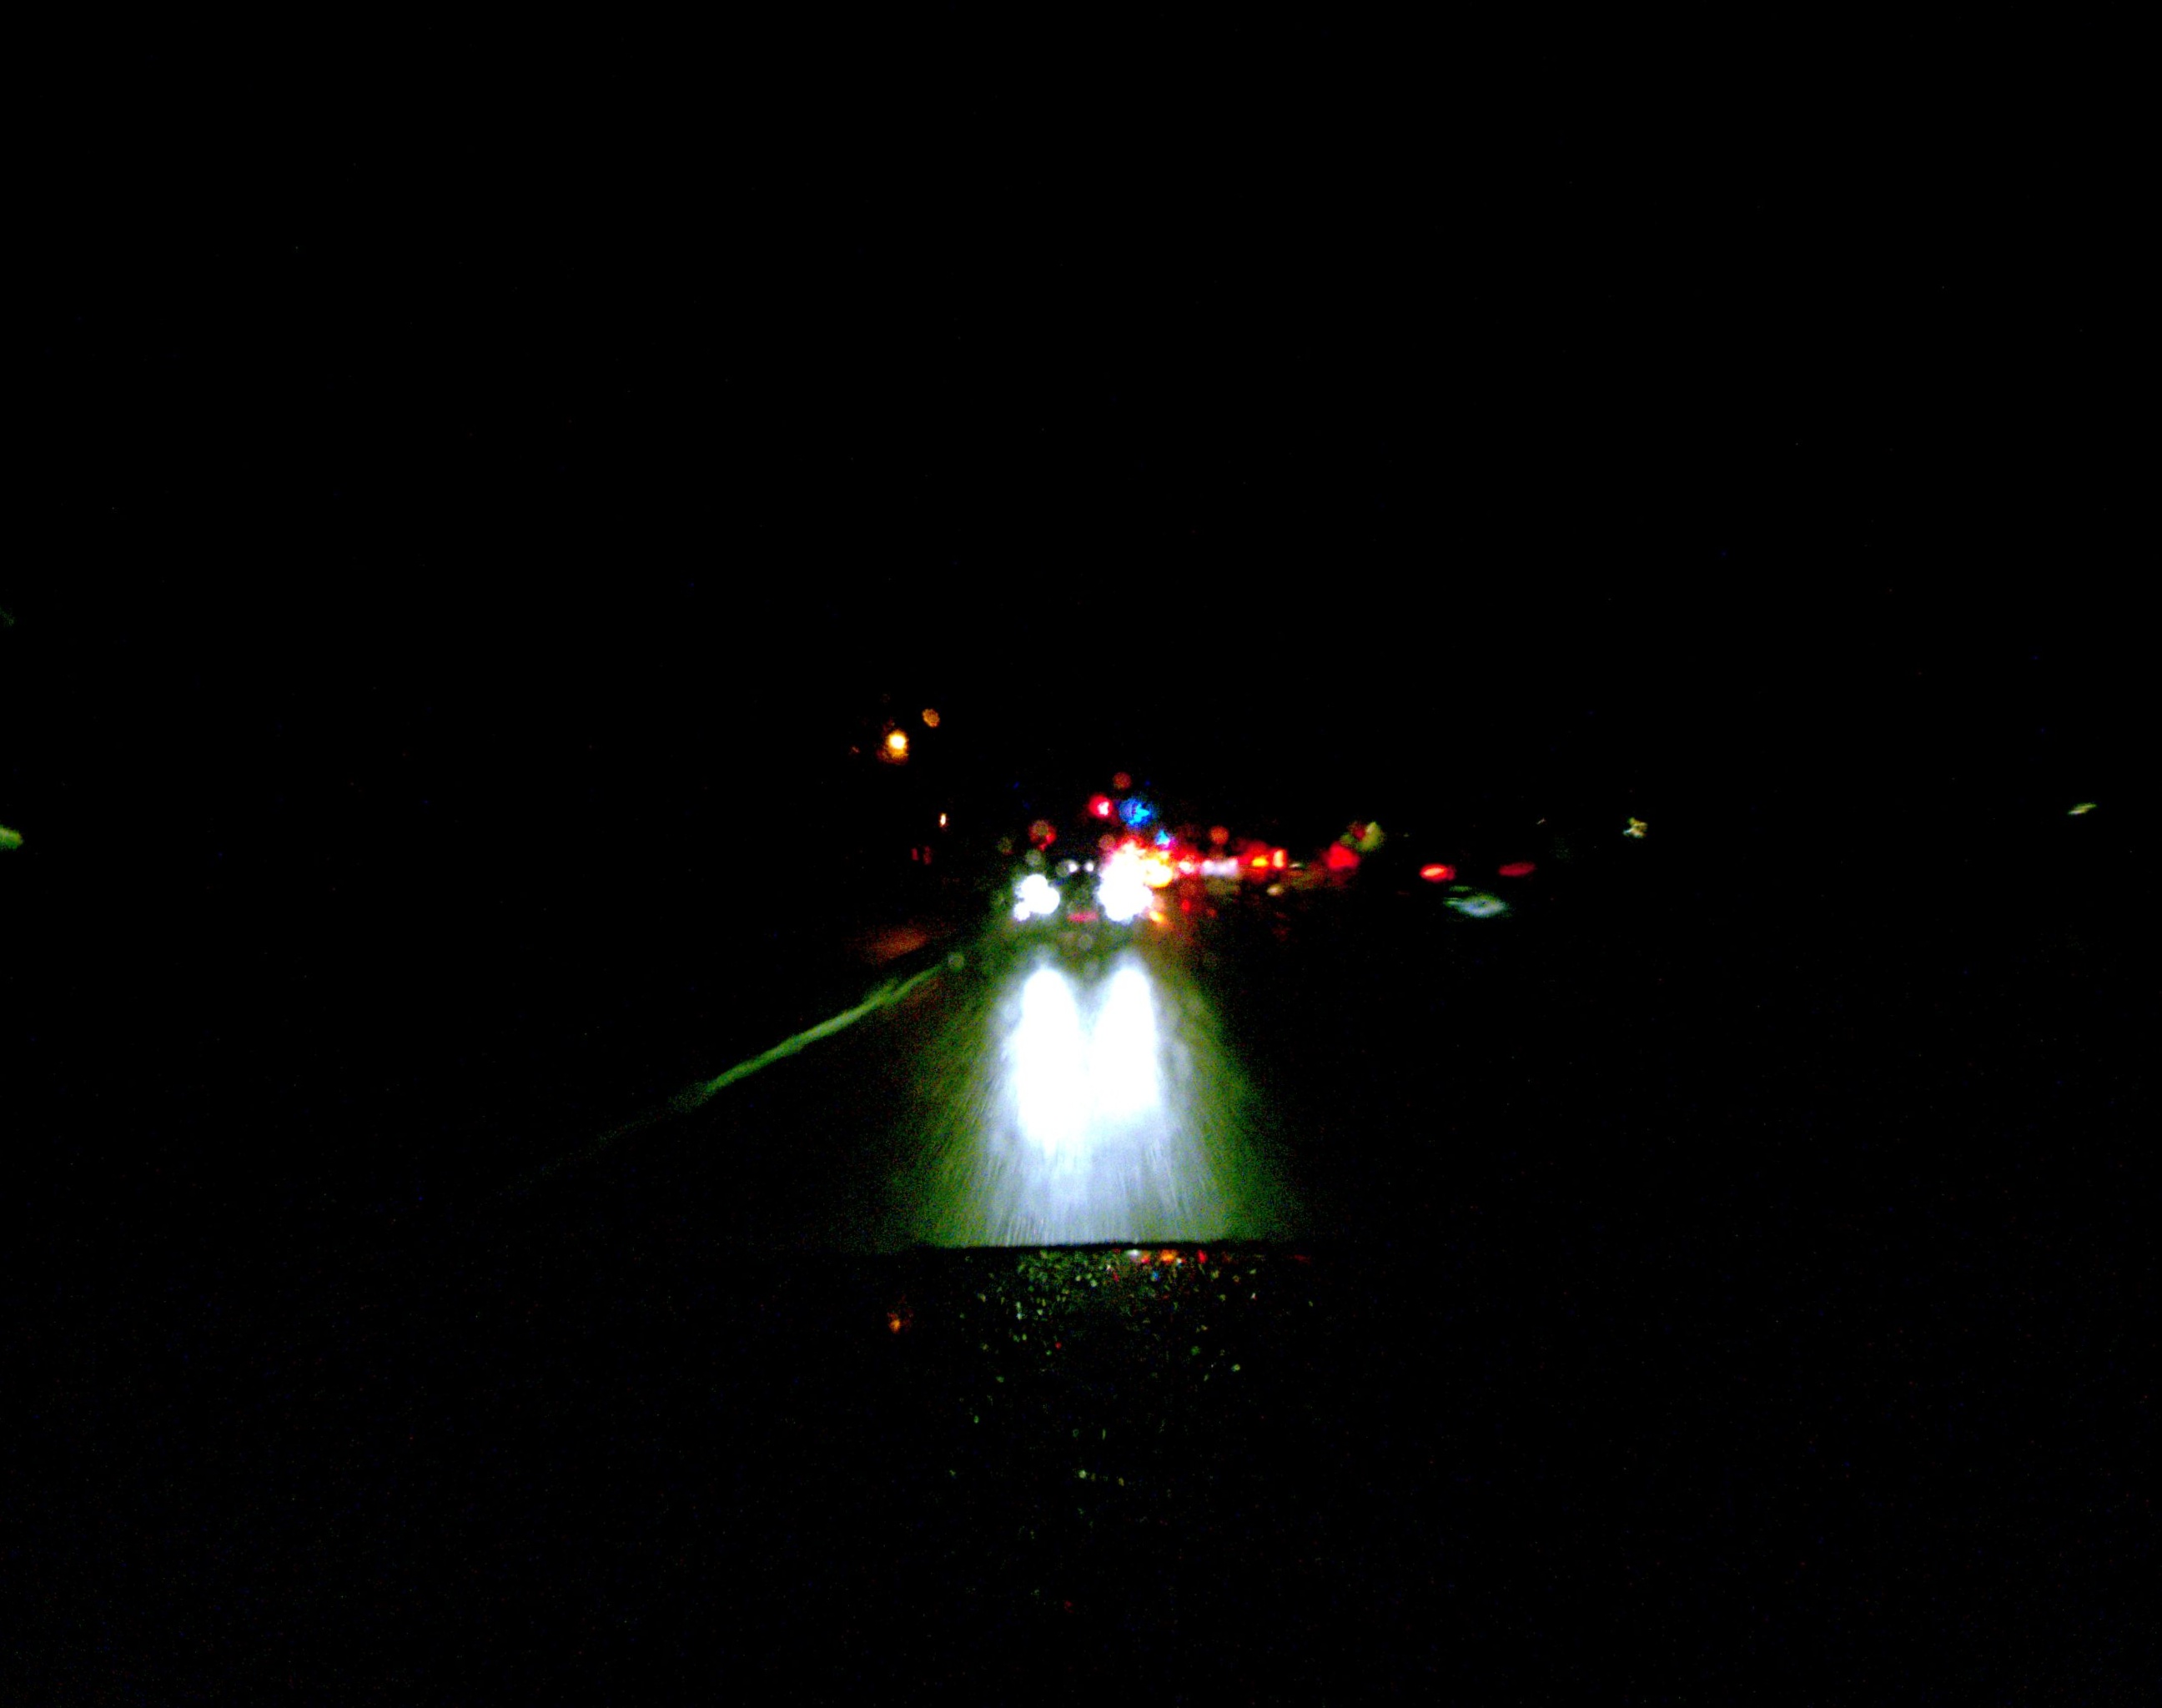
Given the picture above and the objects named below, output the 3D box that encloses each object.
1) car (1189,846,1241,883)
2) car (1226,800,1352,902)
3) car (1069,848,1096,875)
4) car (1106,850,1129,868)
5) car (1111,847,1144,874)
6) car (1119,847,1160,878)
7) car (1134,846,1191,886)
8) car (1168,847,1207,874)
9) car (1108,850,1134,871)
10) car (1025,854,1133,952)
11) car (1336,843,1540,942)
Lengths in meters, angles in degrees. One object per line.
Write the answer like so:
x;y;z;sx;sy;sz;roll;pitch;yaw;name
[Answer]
6.426;0.460;36.912;1.724;1.579;4.311;-3;1;0;car
6.315;-0.111;23.991;2.128;2.692;6.239;-3;1;0;car
0.120;0.518;56.242;1.759;1.807;4.710;-3;0;2;car
3.161;0.421;65.719;1.673;1.464;3.632;-2;0;-2;car
3.091;0.415;51.101;1.849;1.659;4.444;-2;0;0;car
3.192;0.435;42.066;1.849;1.565;4.596;-2;0;0;car
3.556;0.494;34.056;1.810;1.620;4.414;-3;1;-3;car
6.277;0.351;45.141;1.724;1.499;3.827;-3;1;1;car
3.102;0.482;59.185;1.626;1.464;3.884;-2;0;-2;car
0.095;0.839;15.415;1.809;1.590;4.787;-2;0;3;car
6.469;0.611;14.335;1.883;1.528;3.987;-3;1;-1;car
